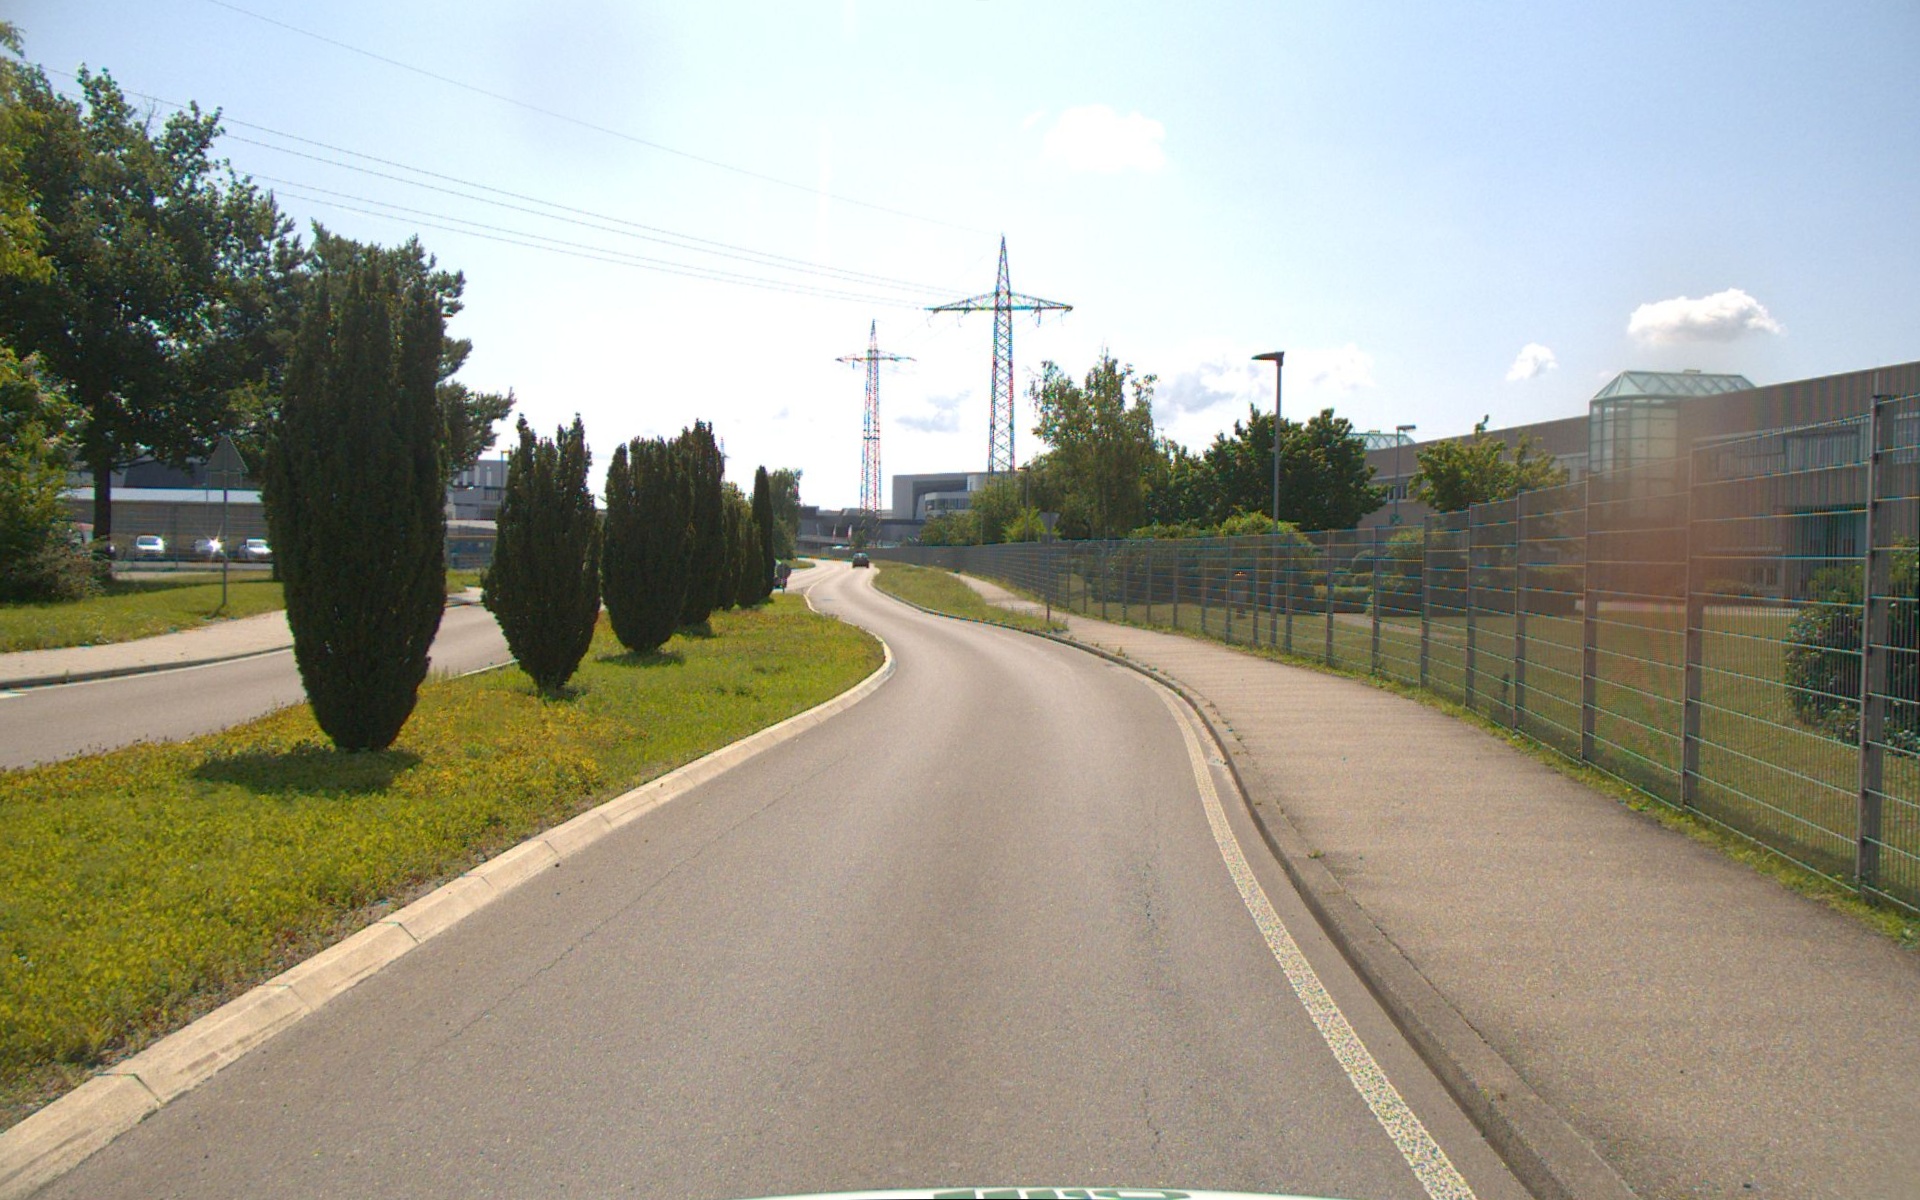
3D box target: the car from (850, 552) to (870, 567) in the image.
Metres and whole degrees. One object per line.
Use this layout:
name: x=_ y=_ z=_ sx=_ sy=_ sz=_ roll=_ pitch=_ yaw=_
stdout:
car: x=-10.537 y=-4.237 z=173.711 sx=1.973 sy=1.534 sz=3.996 roll=1 pitch=1 yaw=-6

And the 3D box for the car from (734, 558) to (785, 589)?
car: x=-9.747 y=-1.323 z=80.674 sx=1.860 sy=1.418 sz=4.866 roll=1 pitch=1 yaw=1
